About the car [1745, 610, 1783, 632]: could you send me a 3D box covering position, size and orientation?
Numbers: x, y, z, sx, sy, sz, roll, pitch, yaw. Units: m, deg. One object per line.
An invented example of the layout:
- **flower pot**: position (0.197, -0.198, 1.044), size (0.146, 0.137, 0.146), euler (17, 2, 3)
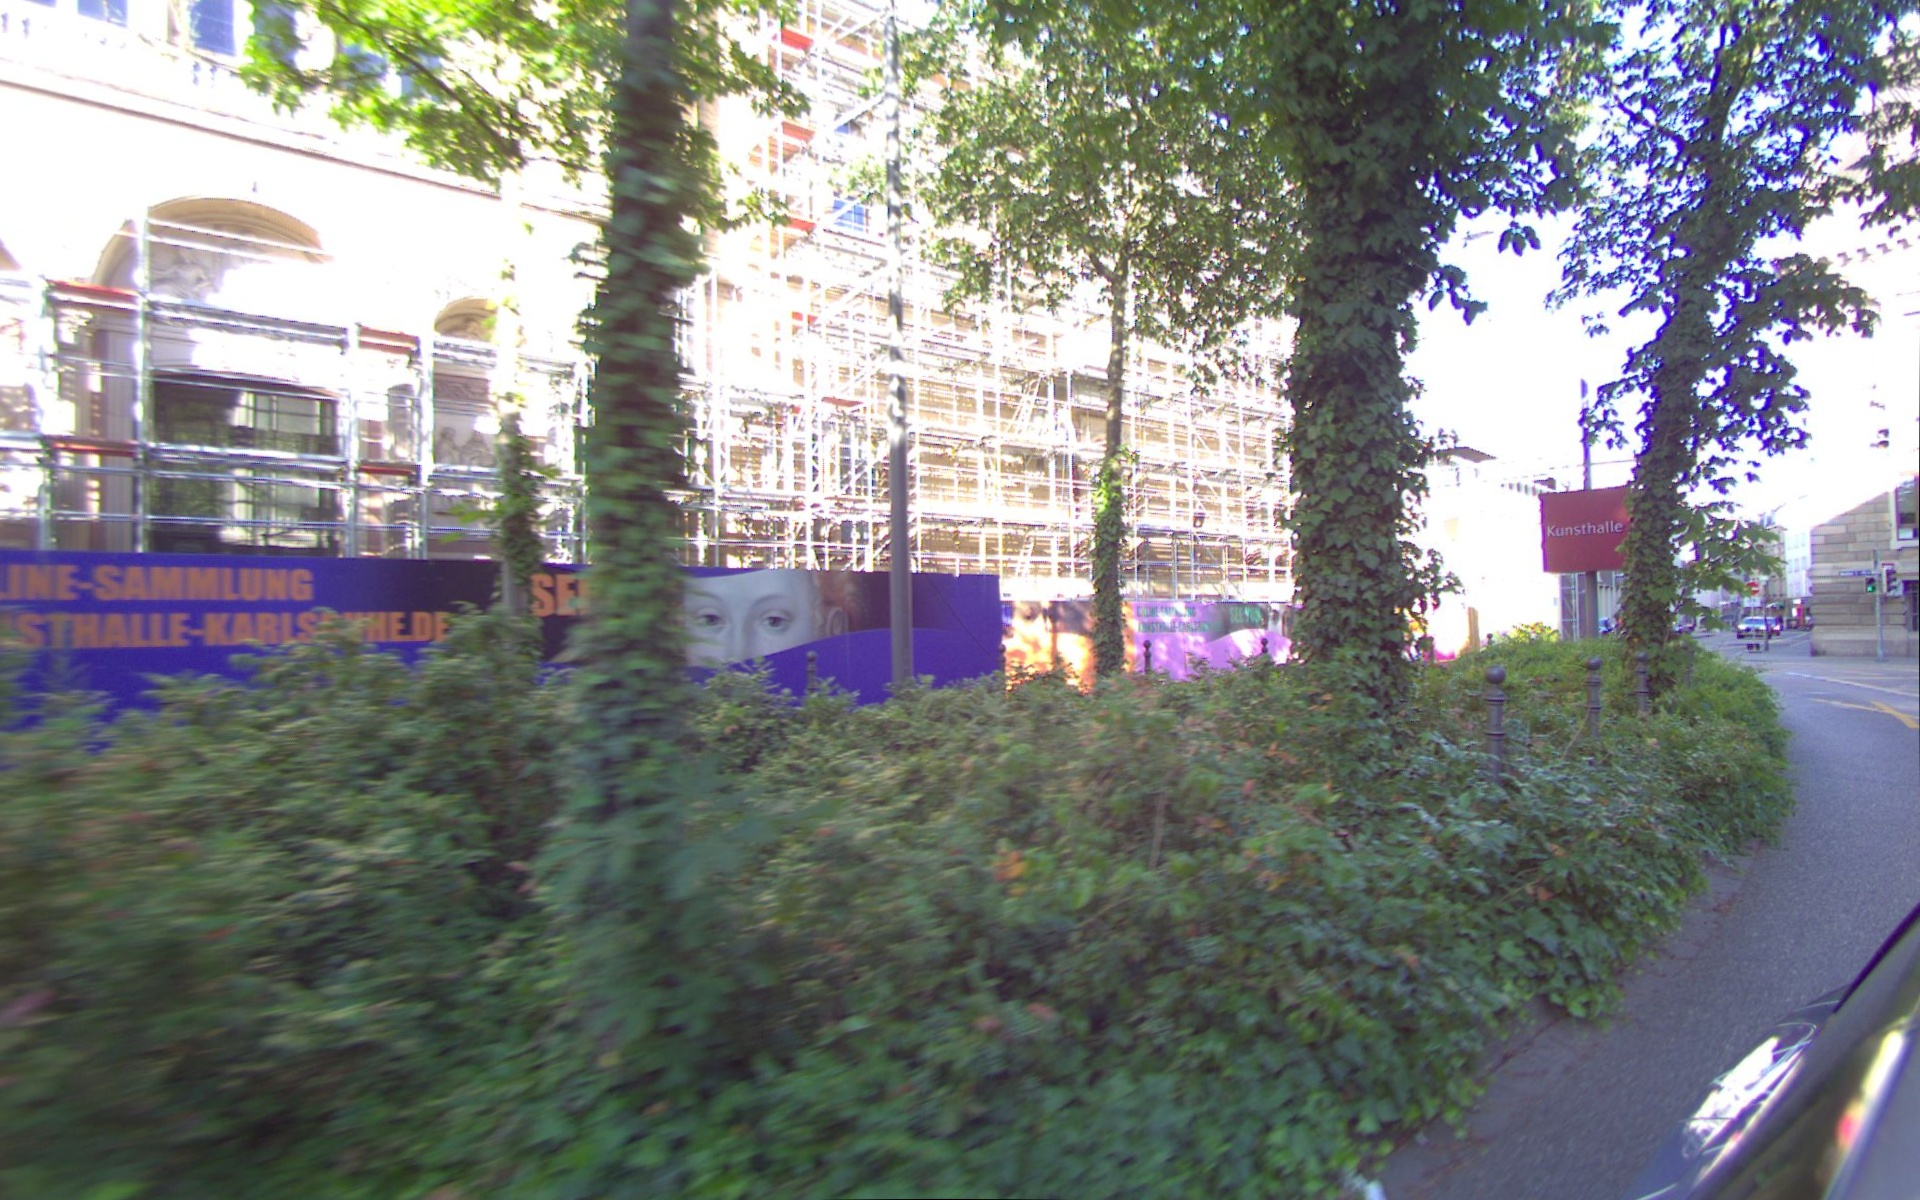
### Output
- **car**: position (58.375, 1.507, 73.471), size (1.848, 1.511, 4.189), euler (-4, -3, 42)

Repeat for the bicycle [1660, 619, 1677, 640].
- **bicycle**: position (37.930, 1.566, 54.174), size (0.533, 1.080, 1.404), euler (-4, -3, 42)

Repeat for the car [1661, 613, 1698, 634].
- **car**: position (54.269, 1.768, 76.288), size (1.692, 1.511, 4.189), euler (-4, -3, 42)

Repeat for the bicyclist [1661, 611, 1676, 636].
- **bicyclist**: position (37.892, 1.244, 54.139), size (0.536, 1.305, 0.543), euler (-4, -3, 41)

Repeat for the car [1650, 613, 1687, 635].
- **car**: position (50.706, 1.703, 72.385), size (1.626, 1.418, 3.827), euler (-4, -3, 42)

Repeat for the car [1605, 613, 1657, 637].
- **car**: position (42.442, 1.580, 63.980), size (4.520, 1.362, 1.698), euler (0, -3, -43)
